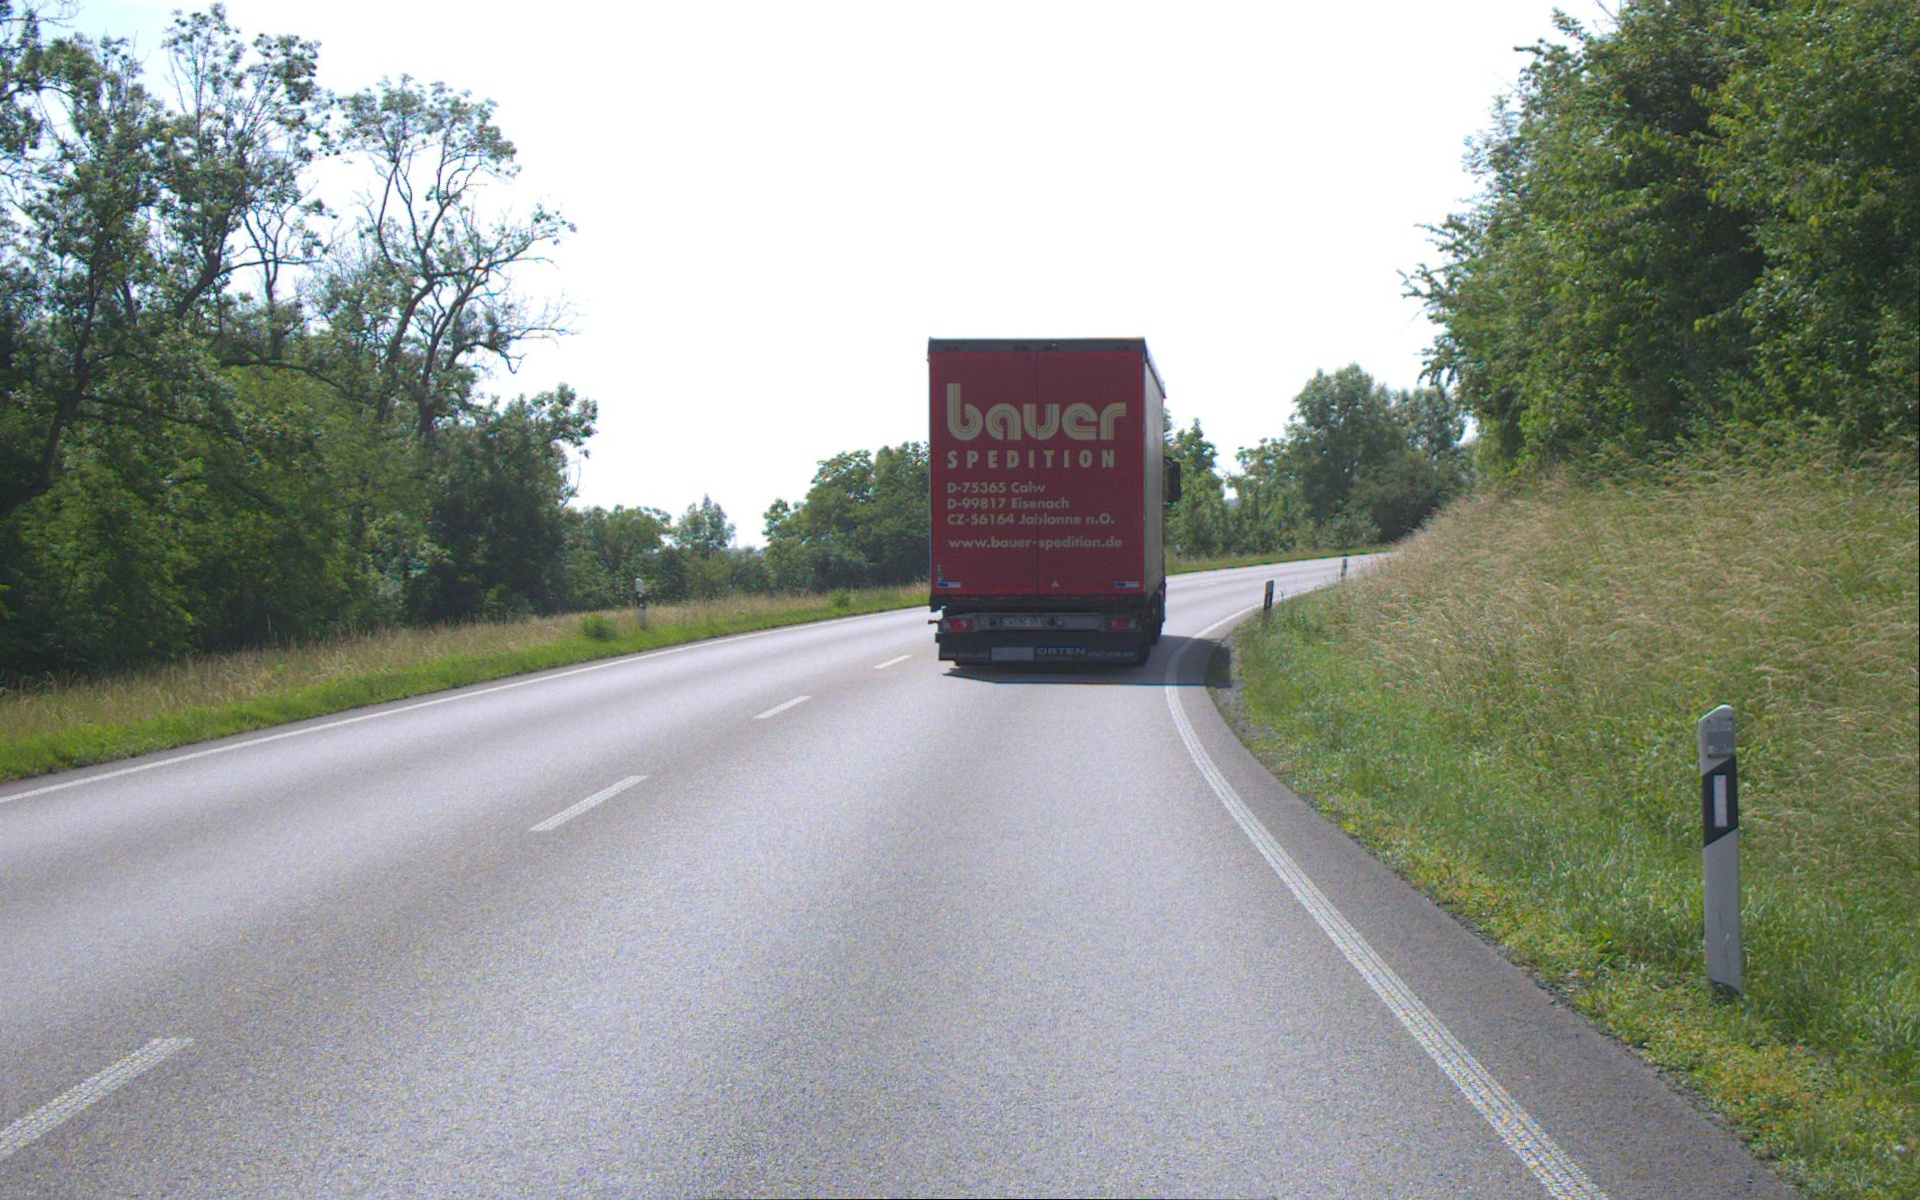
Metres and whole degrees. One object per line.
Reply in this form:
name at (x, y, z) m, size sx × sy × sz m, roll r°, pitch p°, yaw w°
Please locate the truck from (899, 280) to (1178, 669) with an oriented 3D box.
truck at (1.286, -1.543, 45.890) m, size 3.113 × 4.490 × 12.166 m, roll 0°, pitch 1°, yaw 4°
